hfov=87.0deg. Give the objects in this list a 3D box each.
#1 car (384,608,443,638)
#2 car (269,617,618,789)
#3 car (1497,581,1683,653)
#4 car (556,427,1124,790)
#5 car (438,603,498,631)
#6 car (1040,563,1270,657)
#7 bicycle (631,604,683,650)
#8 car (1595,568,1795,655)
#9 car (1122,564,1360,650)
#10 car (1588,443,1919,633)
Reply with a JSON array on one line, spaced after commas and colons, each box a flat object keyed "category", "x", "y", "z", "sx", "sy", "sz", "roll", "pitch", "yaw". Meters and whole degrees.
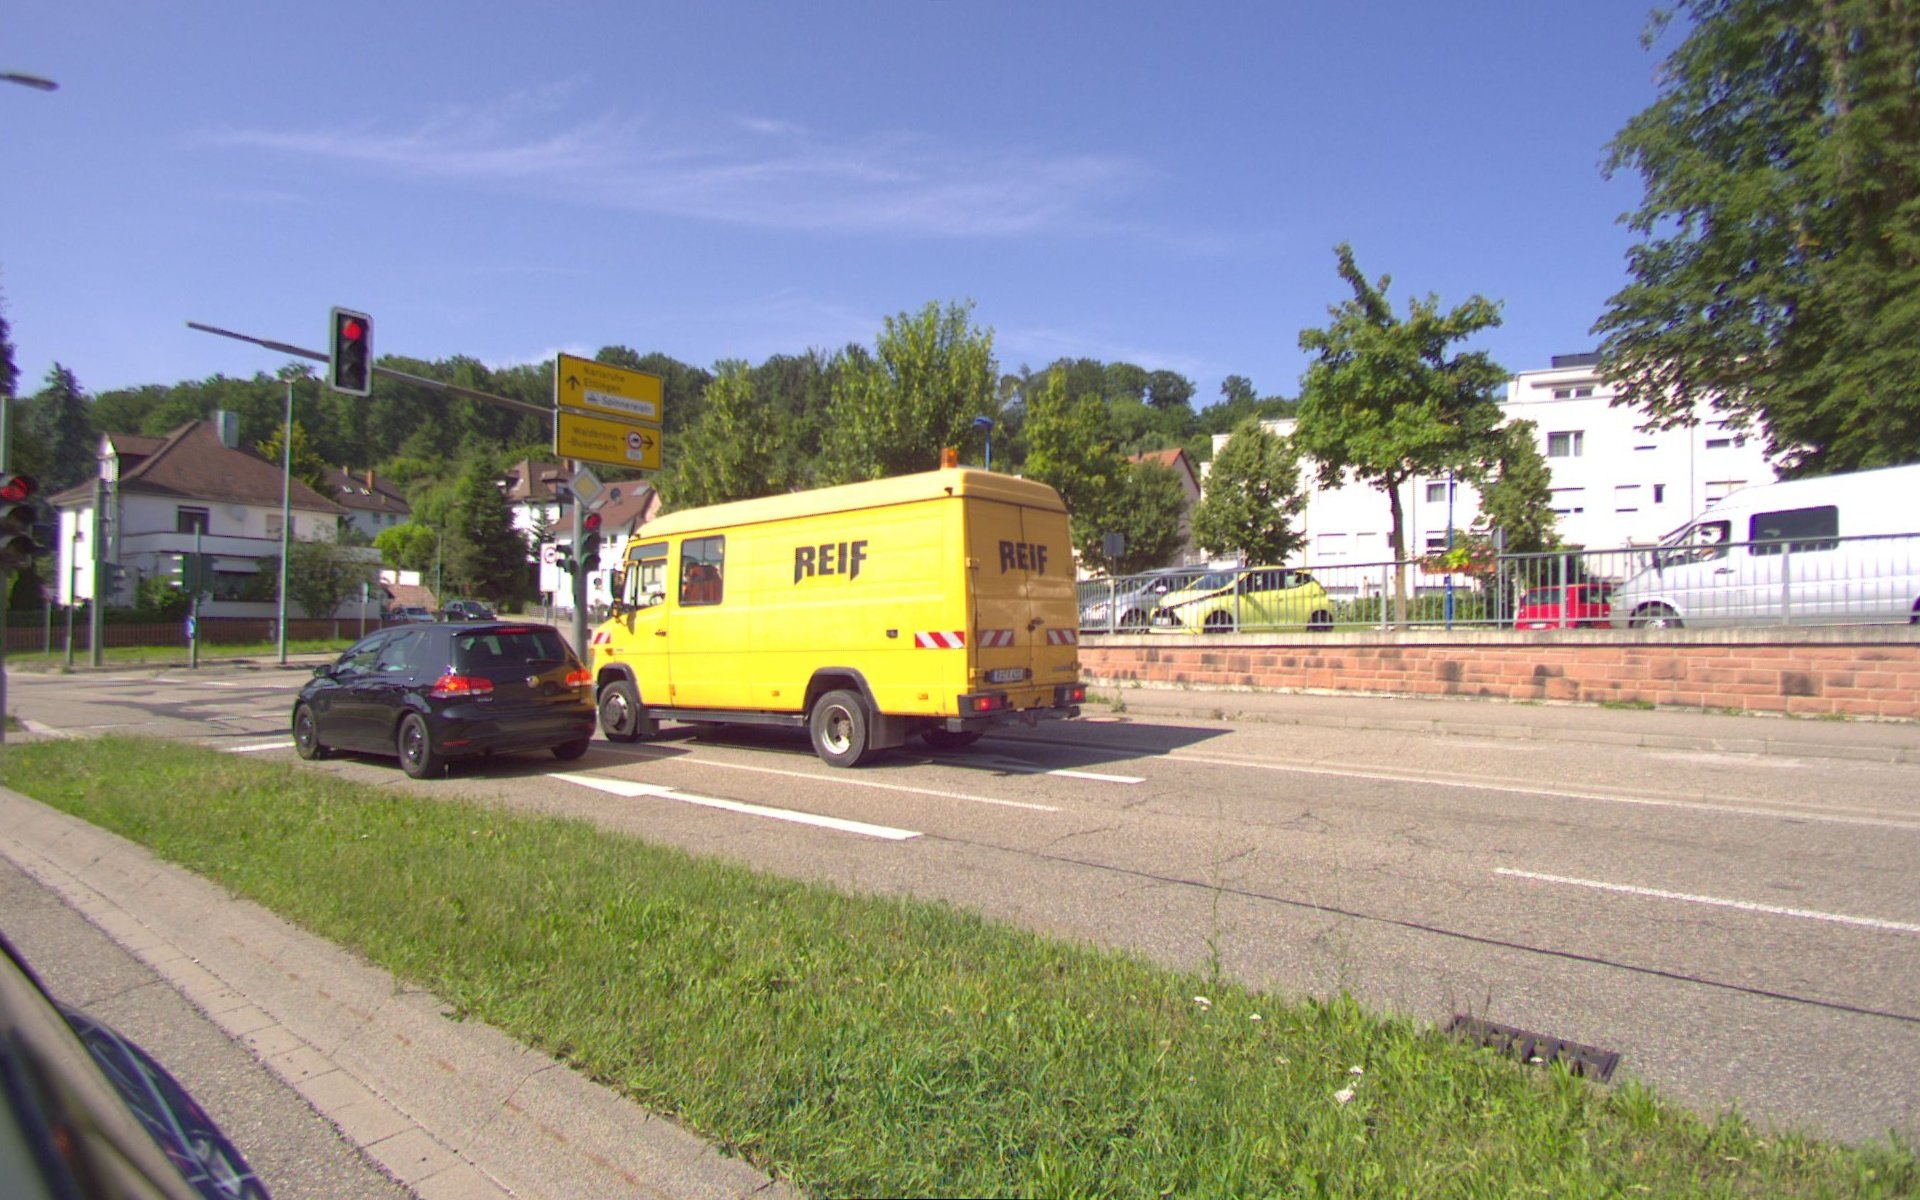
[{"category": "car", "x": -33.093, "y": 1.424, "z": 61.253, "sx": 3.999, "sy": 1.649, "sz": 1.914, "roll": -3, "pitch": -1, "yaw": 42}, {"category": "car", "x": -5.515, "y": 0.944, "z": 10.632, "sx": 4.037, "sy": 1.474, "sz": 1.729, "roll": -2, "pitch": -2, "yaw": 38}, {"category": "car", "x": 15.746, "y": 0.409, "z": 25.330, "sx": 3.931, "sy": 1.571, "sz": 1.920, "roll": -2, "pitch": -1, "yaw": -21}, {"category": "car", "x": -1.636, "y": 0.112, "z": 11.403, "sx": 6.456, "sy": 3.033, "sz": 2.444, "roll": -1, "pitch": 0, "yaw": 38}, {"category": "car", "x": -31.936, "y": 1.083, "z": 65.637, "sx": 4.753, "sy": 1.495, "sz": 1.952, "roll": 3, "pitch": 4, "yaw": 44}, {"category": "car", "x": 4.160, "y": 0.181, "z": 21.664, "sx": 4.339, "sy": 1.709, "sz": 2.064, "roll": -3, "pitch": 0, "yaw": -21}, {"category": "bicycle", "x": -9.323, "y": 0.844, "z": 31.076, "sx": 1.756, "sy": 1.265, "sz": 0.612, "roll": -5, "pitch": 1, "yaw": 42}, {"category": "car", "x": 16.778, "y": 0.250, "z": 23.098, "sx": 3.931, "sy": 1.714, "sz": 1.920, "roll": -3, "pitch": -1, "yaw": -24}, {"category": "car", "x": 5.318, "y": 0.119, "z": 19.218, "sx": 3.931, "sy": 1.392, "sz": 1.920, "roll": -2, "pitch": -1, "yaw": -21}, {"category": "car", "x": 12.768, "y": -0.812, "z": 14.702, "sx": 2.064, "sy": 2.462, "sz": 5.801, "roll": -2, "pitch": -1, "yaw": -32}]
